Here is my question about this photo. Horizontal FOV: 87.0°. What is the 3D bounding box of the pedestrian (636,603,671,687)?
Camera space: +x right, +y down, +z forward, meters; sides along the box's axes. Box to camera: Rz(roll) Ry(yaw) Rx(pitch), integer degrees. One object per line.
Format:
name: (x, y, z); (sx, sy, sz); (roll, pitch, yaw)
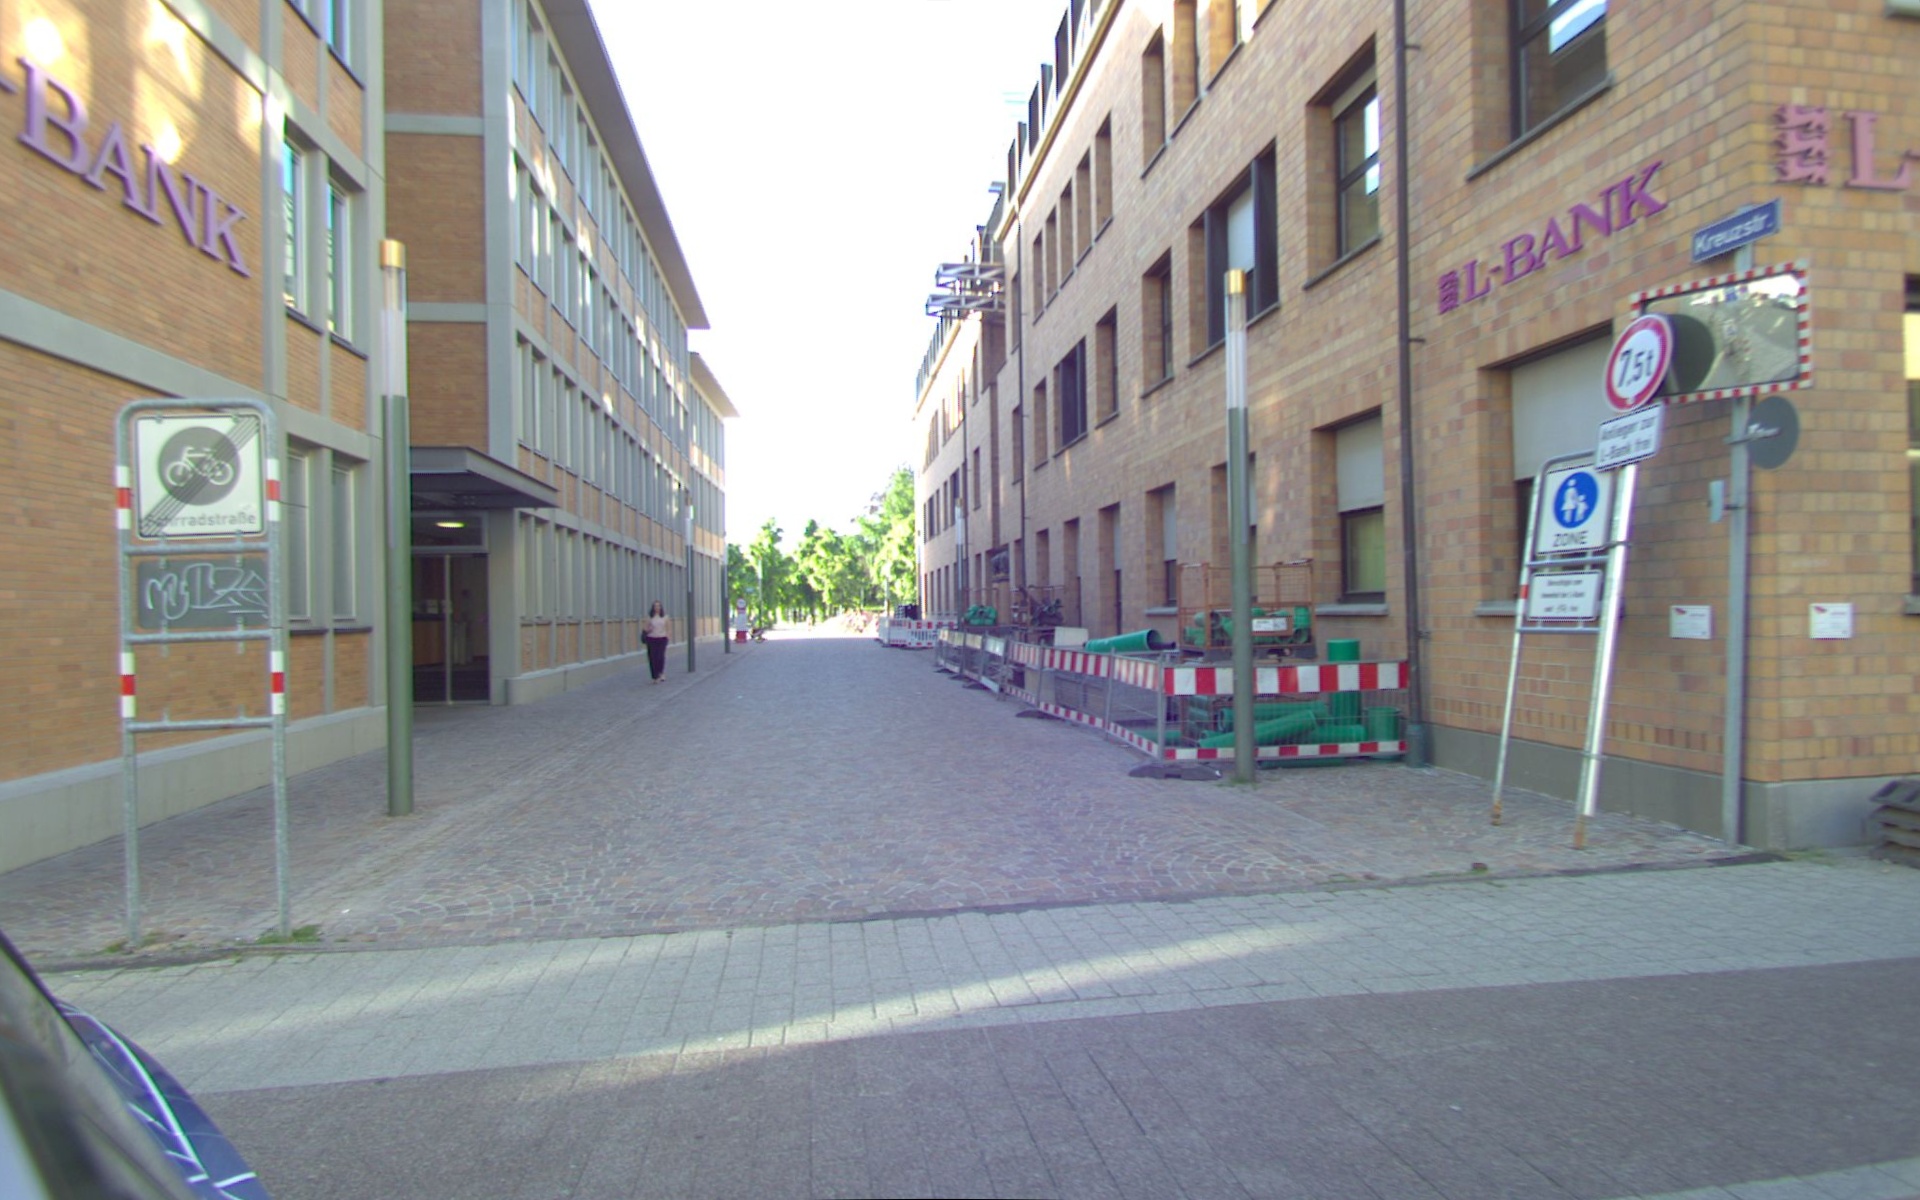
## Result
pedestrian: (-6.687, 0.987, 22.107); (0.628, 1.799, 0.653); (-1, -3, -8)
